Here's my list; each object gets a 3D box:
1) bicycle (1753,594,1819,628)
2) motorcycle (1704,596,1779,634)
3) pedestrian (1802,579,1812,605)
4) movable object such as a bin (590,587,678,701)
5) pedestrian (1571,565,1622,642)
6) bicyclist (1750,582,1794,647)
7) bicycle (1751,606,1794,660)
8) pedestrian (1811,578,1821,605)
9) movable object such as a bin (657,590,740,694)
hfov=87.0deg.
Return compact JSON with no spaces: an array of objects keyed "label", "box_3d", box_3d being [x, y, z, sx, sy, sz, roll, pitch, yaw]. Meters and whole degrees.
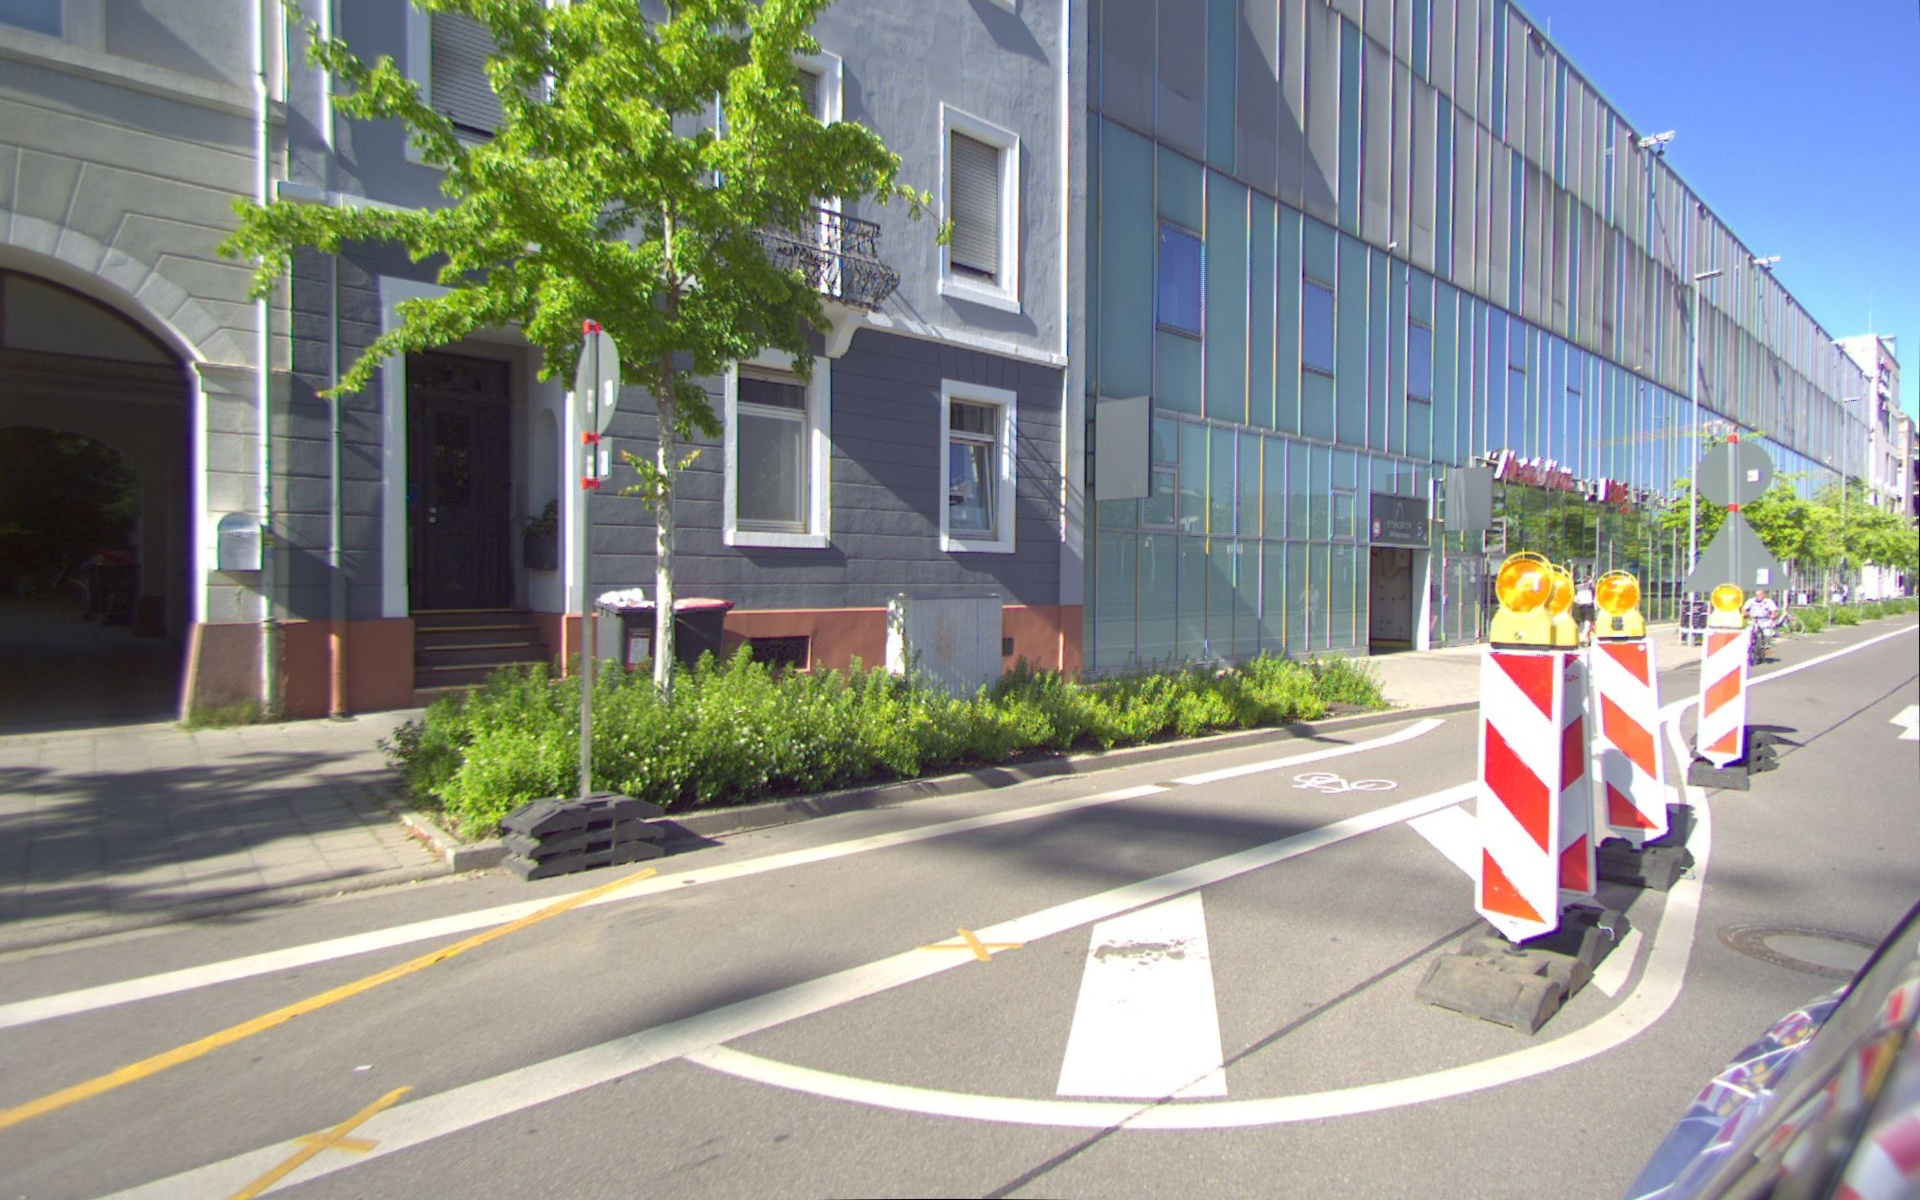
[{"label":"bicycle","box_3d":[29.176,0.375,35.774,1.728,1.075,0.462,4,3,34]},{"label":"motorcycle","box_3d":[25.315,0.460,32.824,0.630,1.095,1.886,0,3,-18]},{"label":"pedestrian","box_3d":[54.315,-0.505,64.906,0.282,1.620,0.450,0,0,-41]},{"label":"movable object such as a bin","box_3d":[-3.353,0.427,10.409,0.691,1.122,0.589,0,0,-41]},{"label":"pedestrian","box_3d":[16.965,0.075,26.985,0.880,1.946,0.877,-3,5,-42]},{"label":"bicyclist","box_3d":[19.006,0.325,23.686,0.753,1.480,0.578,0,1,44]},{"label":"bicycle","box_3d":[18.984,0.750,23.633,0.608,1.165,1.957,-1,0,43]},{"label":"pedestrian","box_3d":[54.887,-0.567,64.905,0.339,1.712,0.450,0,0,-42]},{"label":"movable object such as a bin","box_3d":[-2.860,0.435,11.067,0.691,1.096,0.604,0,0,-41]}]
